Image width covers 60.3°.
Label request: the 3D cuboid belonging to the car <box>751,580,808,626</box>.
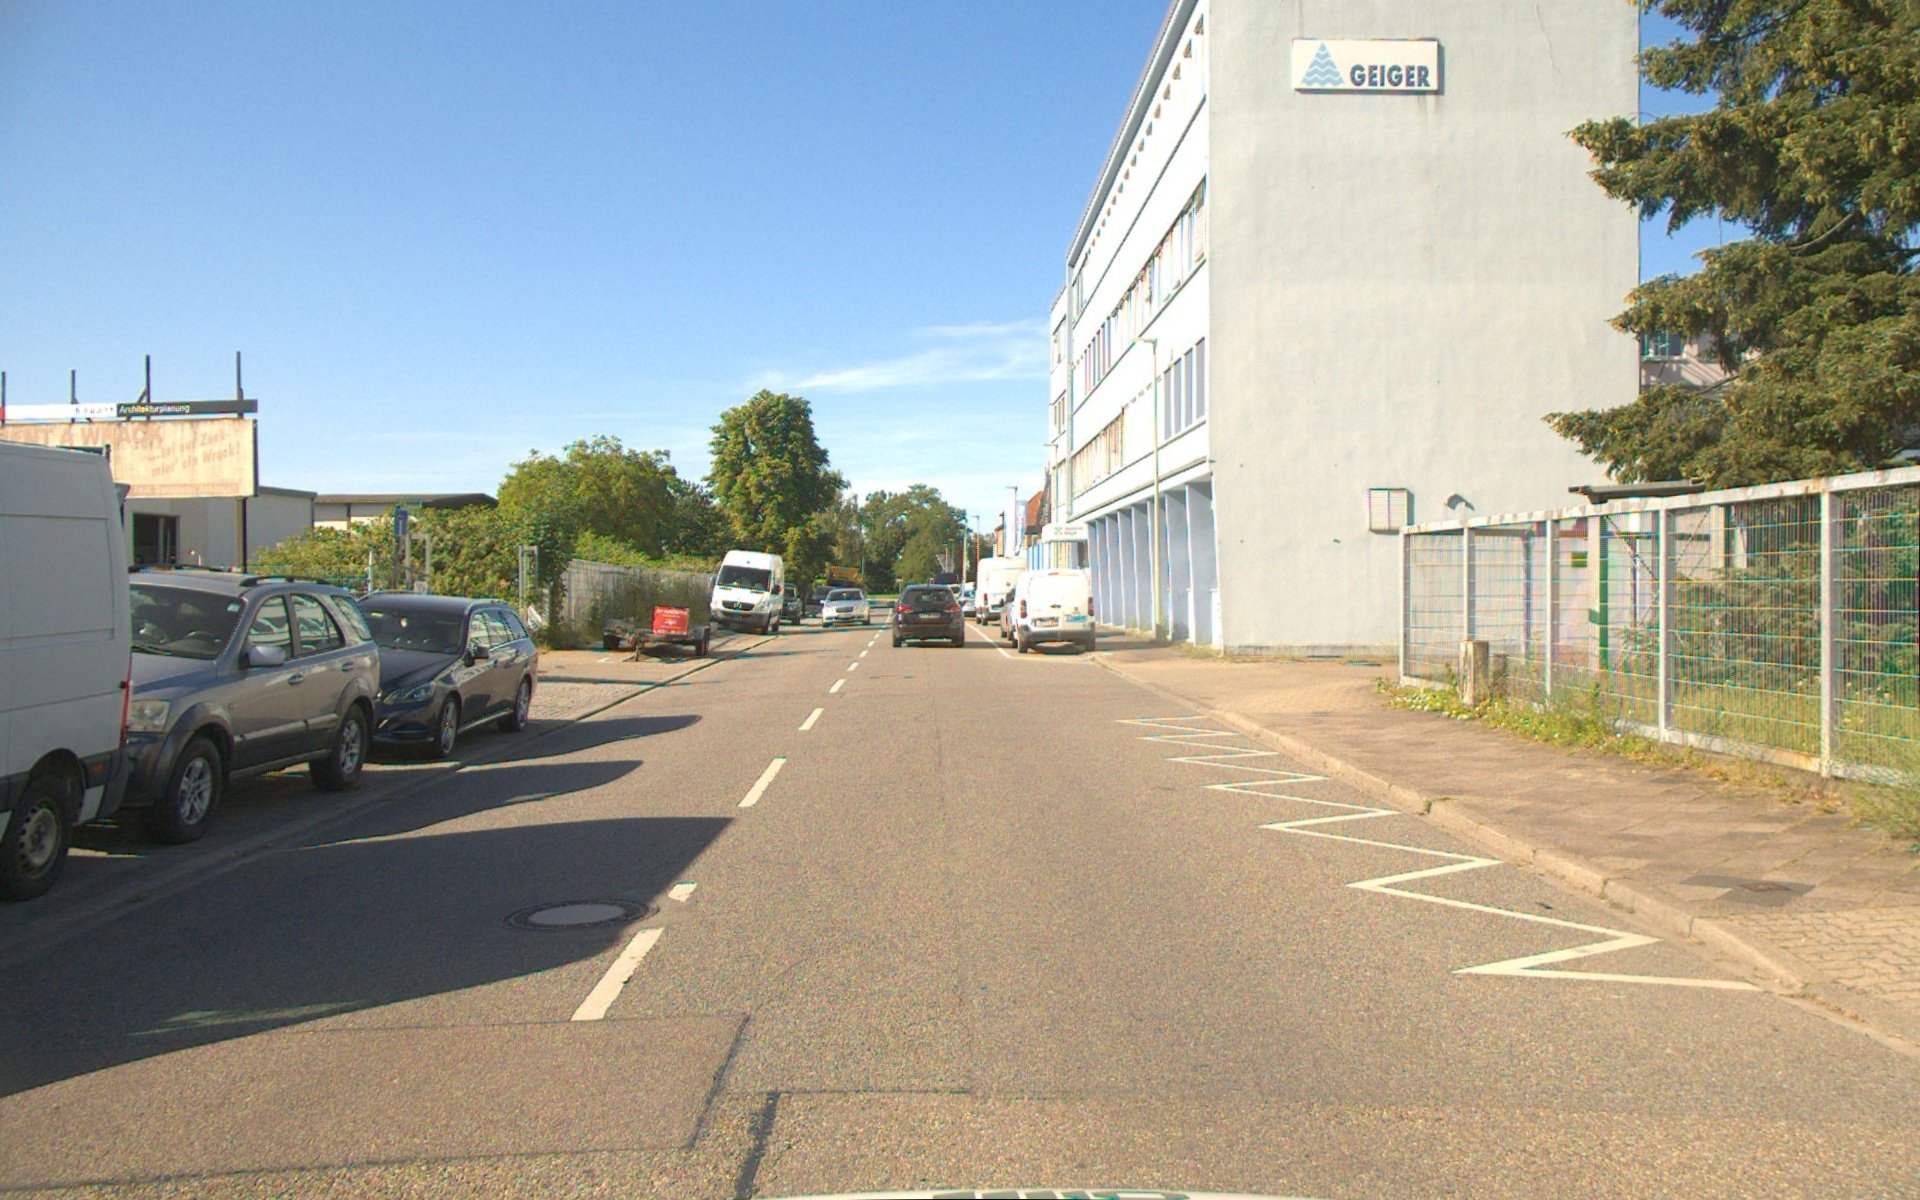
[{"bbox_3d":[-7.494,0.097,69.021,1.990,1.723,5.103,4,0,-3],"label":"car"}]

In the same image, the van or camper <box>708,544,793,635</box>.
[{"bbox_3d":[-7.004,-0.357,55.927,1.926,2.731,5.947,5,0,0],"label":"van or camper"}]

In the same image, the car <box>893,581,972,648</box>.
[{"bbox_3d":[-0.681,0.322,40.526,1.810,1.557,3.999,-1,0,-1],"label":"car"}]

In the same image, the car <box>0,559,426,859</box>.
[{"bbox_3d":[-5.872,0.646,12.570,1.953,1.768,4.575,3,0,1],"label":"car"}]

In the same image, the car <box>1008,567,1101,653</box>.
[{"bbox_3d":[2.150,0.207,38.919,1.851,1.864,5.090,0,0,-1],"label":"car"}]

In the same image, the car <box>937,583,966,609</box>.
[{"bbox_3d":[-0.652,-0.297,120.599,1.848,1.829,5.101,1,0,-3],"label":"car"}]

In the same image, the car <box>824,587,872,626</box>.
[{"bbox_3d":[-4.359,0.225,64.908,1.712,1.473,4.359,0,0,-2],"label":"car"}]

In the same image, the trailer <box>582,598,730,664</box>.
[{"bbox_3d":[-6.690,0.634,37.148,2.328,1.098,6.243,4,1,-2],"label":"trailer"}]

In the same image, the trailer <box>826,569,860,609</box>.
[{"bbox_3d":[-10.479,-0.935,149.246,2.932,3.503,8.156,0,0,-3],"label":"trailer"}]

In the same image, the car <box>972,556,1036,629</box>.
[{"bbox_3d":[1.647,-0.344,64.703,1.954,2.643,6.048,-2,1,-3],"label":"car"}]

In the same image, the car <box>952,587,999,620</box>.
[{"bbox_3d":[0.678,0.149,76.281,1.856,1.430,5.121,1,0,-2],"label":"car"}]

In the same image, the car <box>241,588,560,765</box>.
[{"bbox_3d":[-5.796,0.691,17.856,1.763,1.536,5.001,3,0,-1],"label":"car"}]

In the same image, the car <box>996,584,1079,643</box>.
[{"bbox_3d":[2.132,0.350,46.631,1.851,1.588,5.087,0,0,-3],"label":"car"}]

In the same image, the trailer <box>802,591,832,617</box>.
[{"bbox_3d":[-7.779,0.197,90.246,1.447,1.378,3.077,1,0,-2],"label":"trailer"}]

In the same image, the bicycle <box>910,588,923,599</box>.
[{"bbox_3d":[-5.124,-0.753,193.888,0.792,1.290,2.245,2,0,-20],"label":"bicycle"}]

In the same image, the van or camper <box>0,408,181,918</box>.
[{"bbox_3d":[-5.815,0.286,7.018,2.029,2.593,6.401,4,0,-2],"label":"van or camper"}]

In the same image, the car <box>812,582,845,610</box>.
[{"bbox_3d":[-8.591,-0.296,108.237,1.755,1.761,4.802,-1,0,0],"label":"car"}]
